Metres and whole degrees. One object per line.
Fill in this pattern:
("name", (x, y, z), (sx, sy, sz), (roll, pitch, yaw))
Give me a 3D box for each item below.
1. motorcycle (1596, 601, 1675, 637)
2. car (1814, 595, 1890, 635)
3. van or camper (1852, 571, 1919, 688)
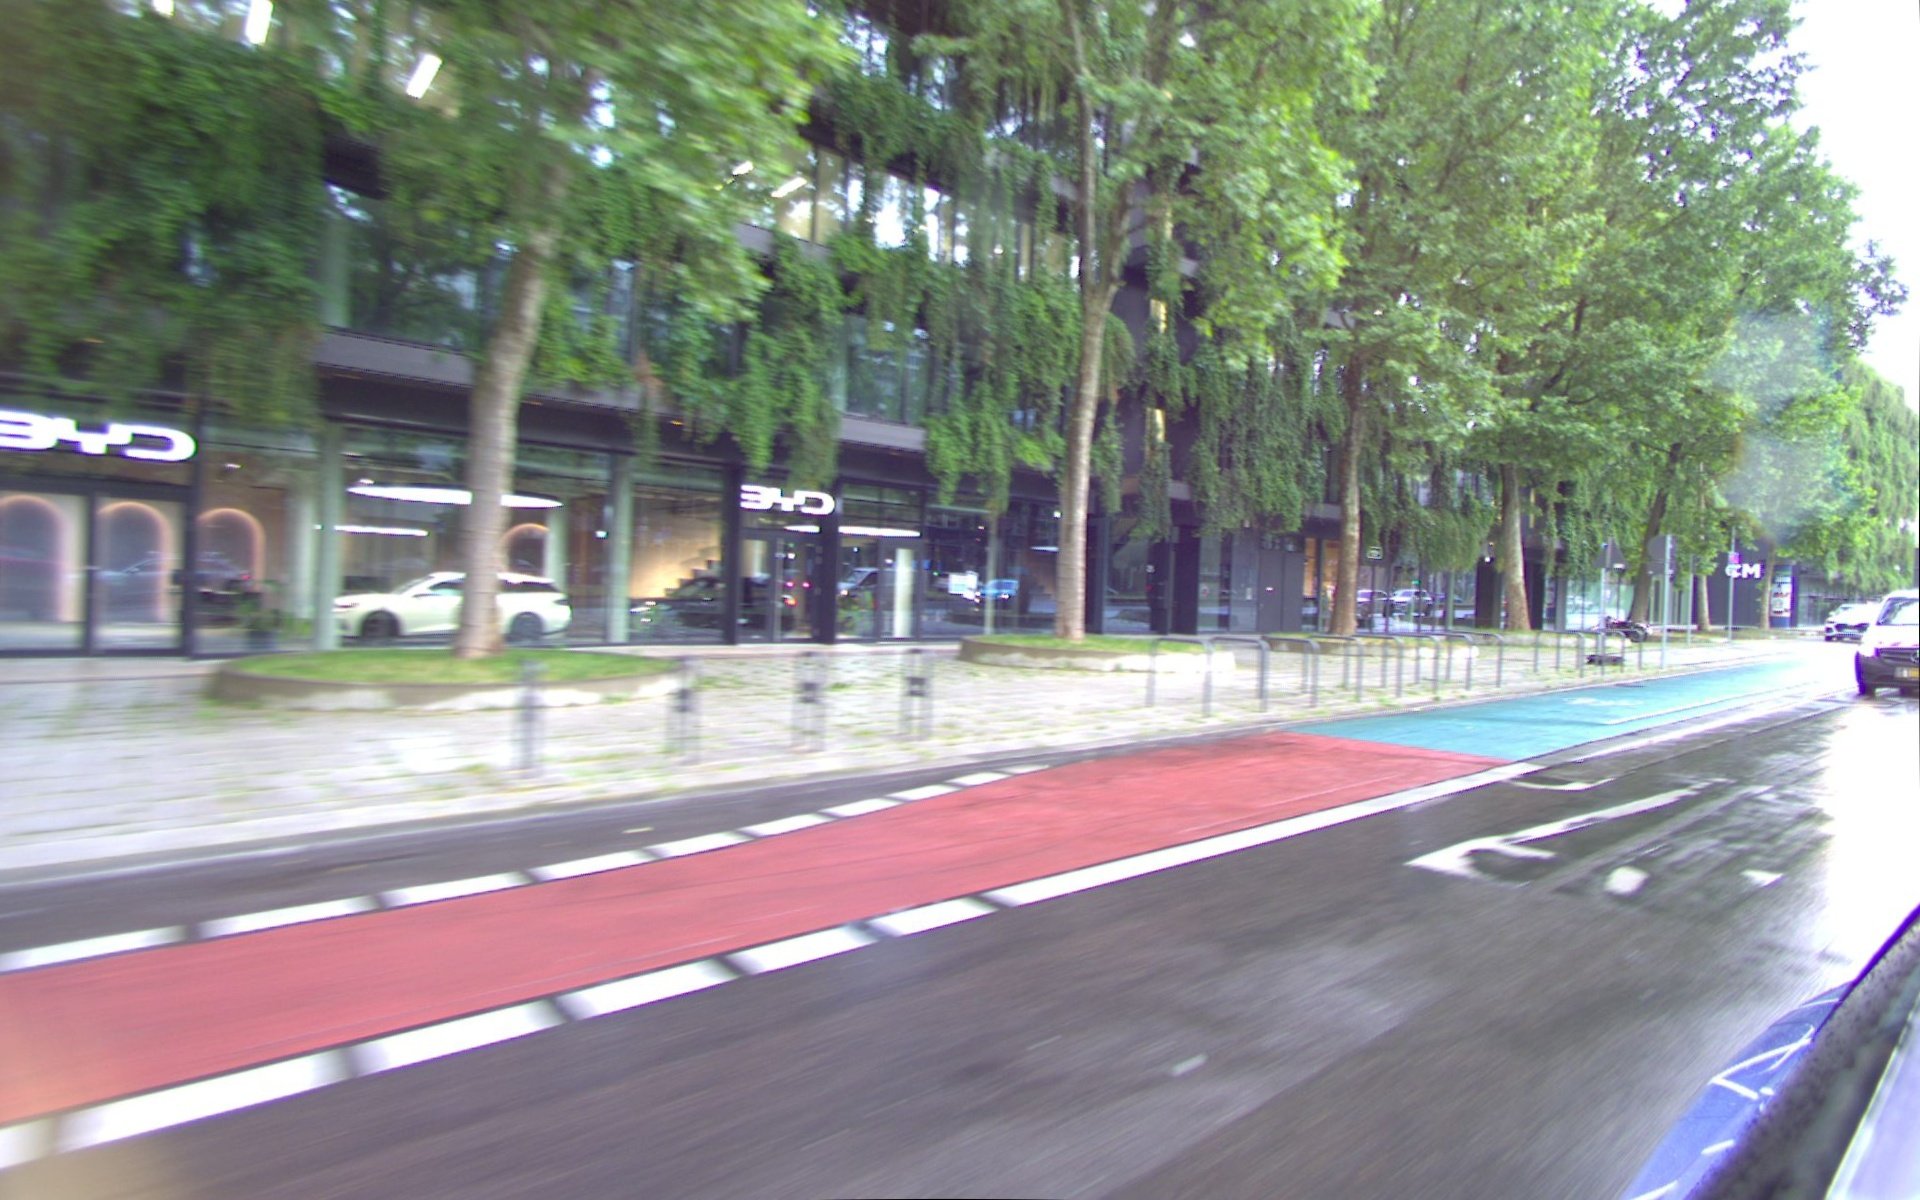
("motorcycle", (25.488, 0.702, 38.234), (1.034, 1.286, 2.311), (1, -1, -40))
("car", (39.473, 0.658, 44.747), (4.702, 1.653, 1.847), (1, 0, -41))
("van or camper", (18.096, 0.526, 18.237), (5.153, 1.937, 1.999), (1, 0, -37))
